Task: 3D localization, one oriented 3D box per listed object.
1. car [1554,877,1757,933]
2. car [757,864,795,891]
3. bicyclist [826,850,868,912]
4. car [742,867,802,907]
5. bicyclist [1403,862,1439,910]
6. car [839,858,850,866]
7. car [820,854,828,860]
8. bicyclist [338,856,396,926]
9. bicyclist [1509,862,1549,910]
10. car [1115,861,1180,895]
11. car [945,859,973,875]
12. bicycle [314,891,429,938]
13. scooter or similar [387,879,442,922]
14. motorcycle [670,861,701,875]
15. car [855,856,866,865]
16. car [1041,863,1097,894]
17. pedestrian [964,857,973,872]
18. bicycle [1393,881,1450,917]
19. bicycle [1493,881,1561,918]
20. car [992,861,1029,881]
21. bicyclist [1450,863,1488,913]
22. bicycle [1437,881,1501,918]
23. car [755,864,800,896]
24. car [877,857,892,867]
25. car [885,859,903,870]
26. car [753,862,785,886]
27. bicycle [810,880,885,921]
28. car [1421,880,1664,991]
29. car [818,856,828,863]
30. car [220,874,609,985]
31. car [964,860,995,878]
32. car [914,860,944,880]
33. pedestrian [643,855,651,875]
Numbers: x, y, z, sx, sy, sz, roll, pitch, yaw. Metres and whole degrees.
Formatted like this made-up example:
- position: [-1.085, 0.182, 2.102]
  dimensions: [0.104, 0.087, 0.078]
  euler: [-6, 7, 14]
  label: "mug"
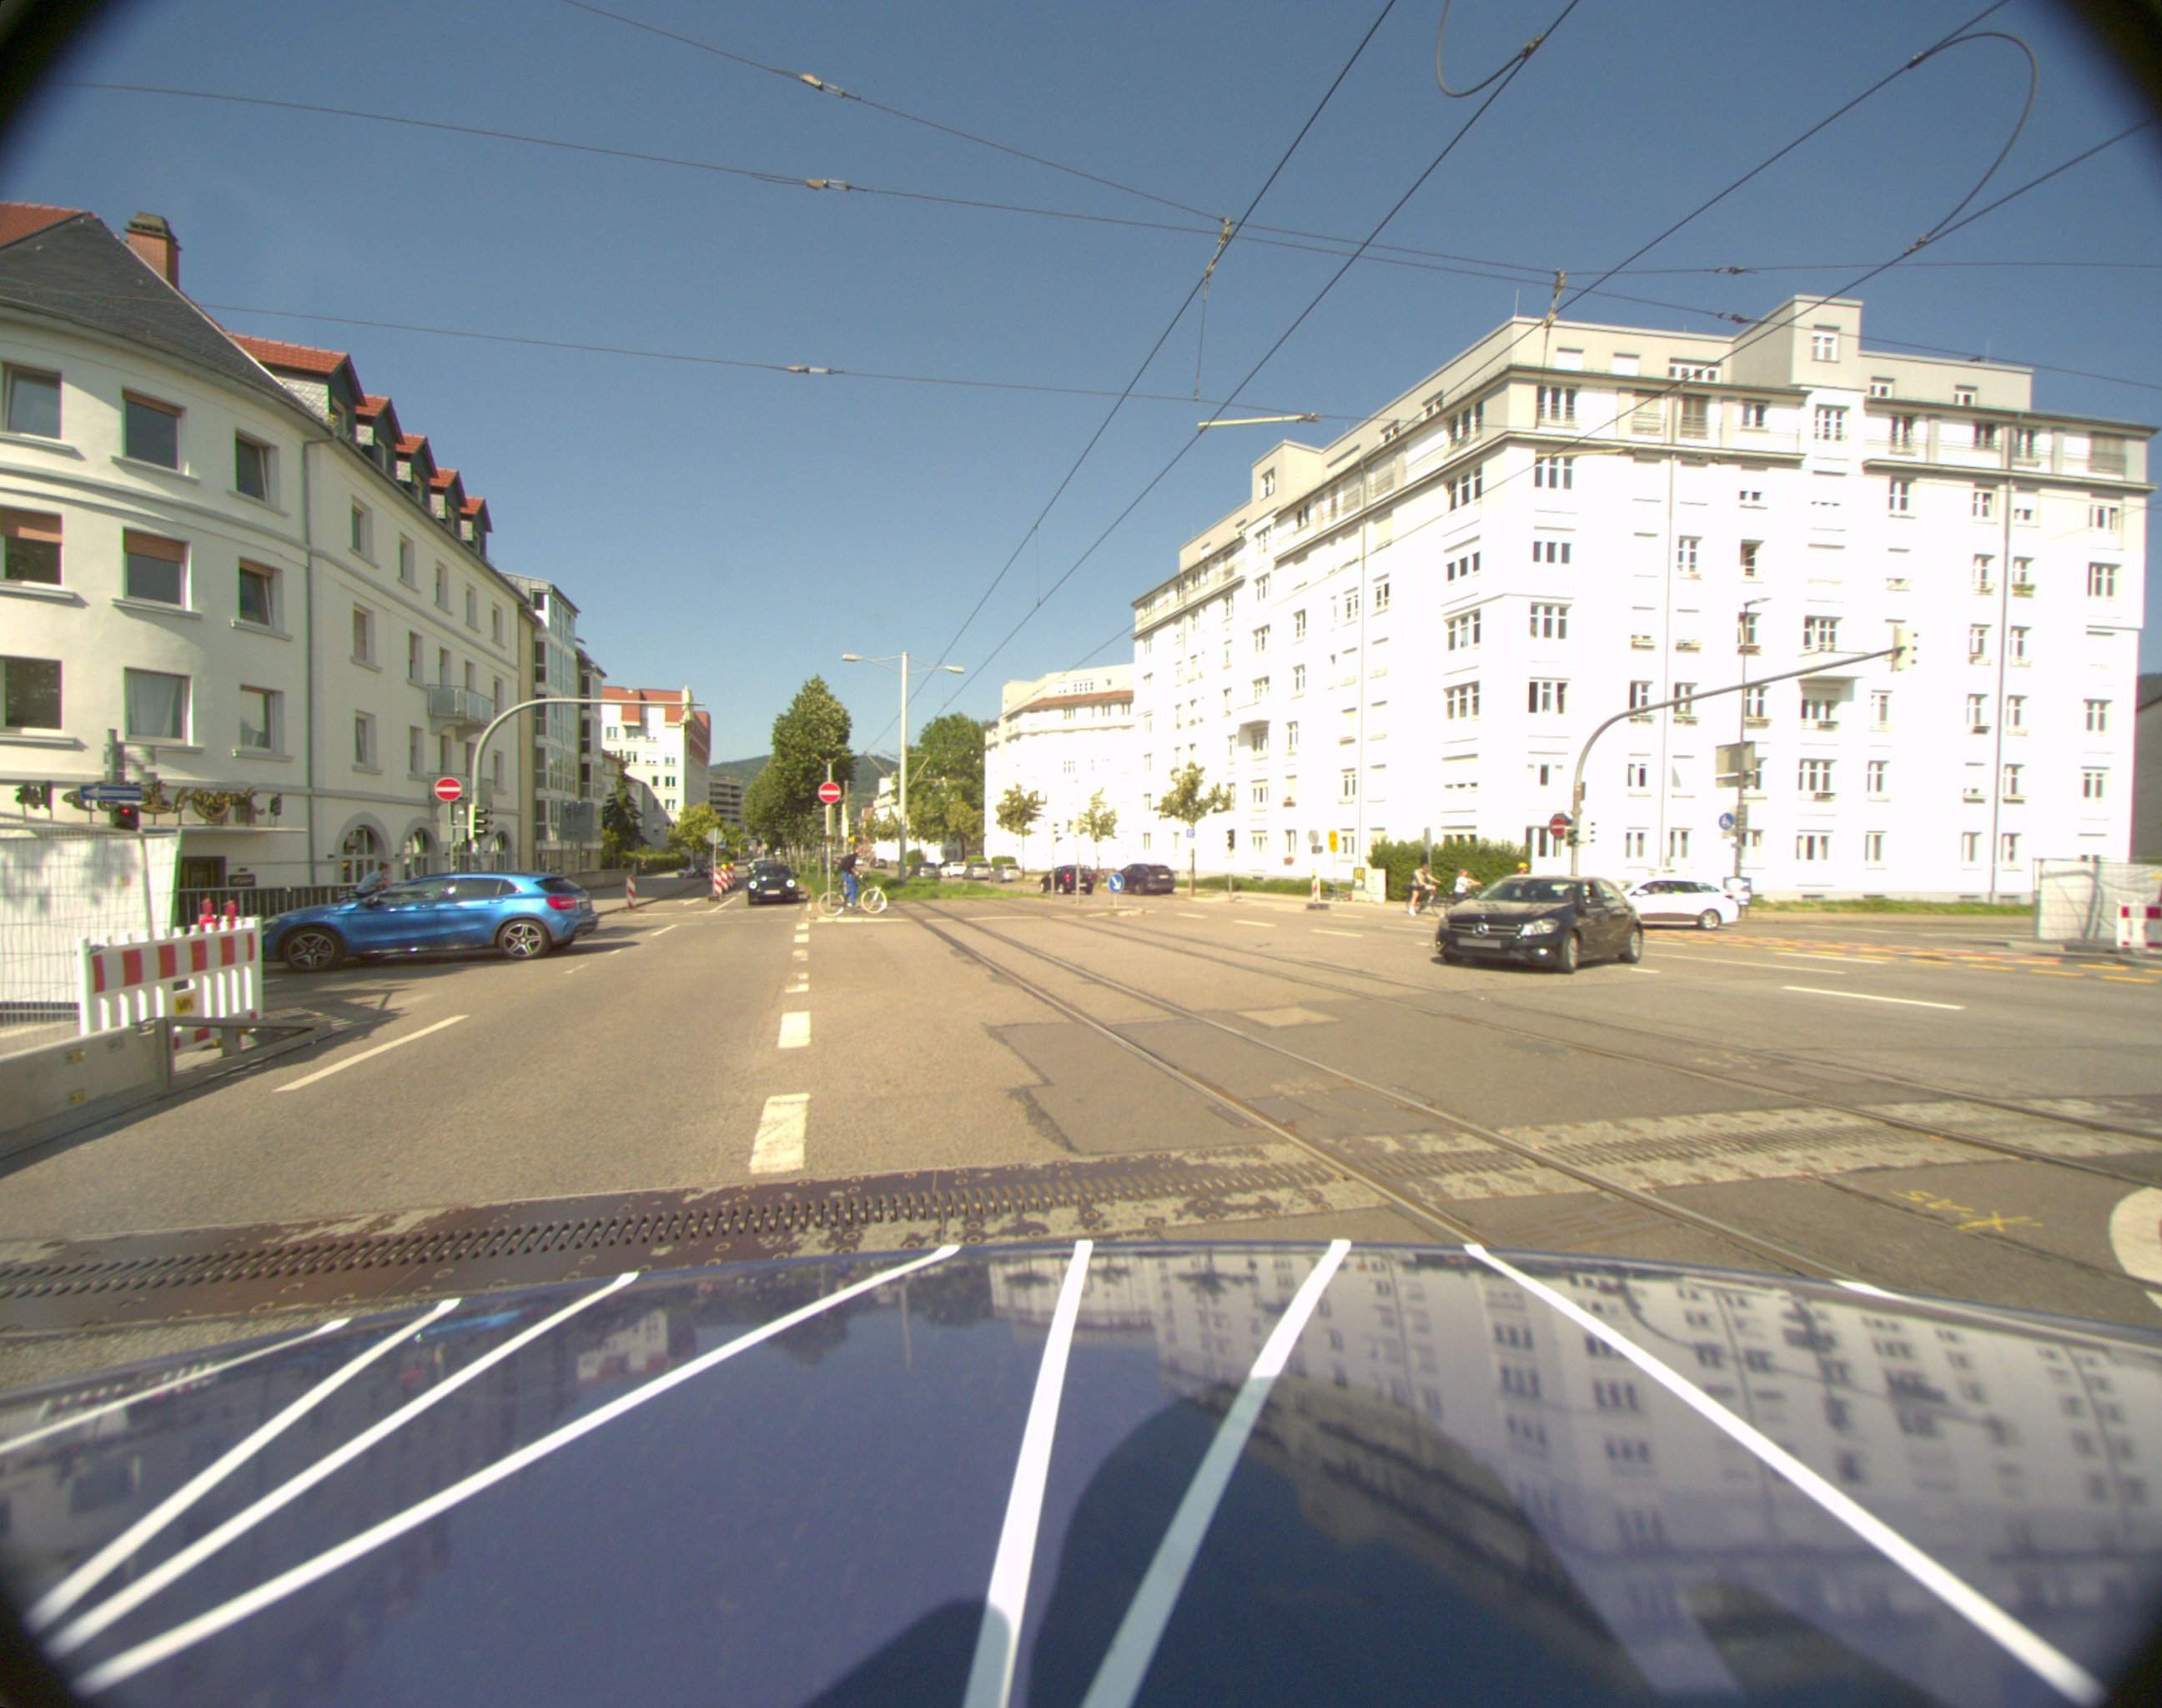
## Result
- position: [15.666, 1.387, 20.842]
  dimensions: [4.485, 1.403, 1.701]
  euler: [1, 0, -6]
  label: "car"
- position: [-16.445, 1.240, 41.159]
  dimensions: [1.770, 1.346, 3.993]
  euler: [-1, 0, -20]
  label: "car"
- position: [-6.470, 0.732, 21.068]
  dimensions: [1.010, 1.644, 0.808]
  euler: [-2, -1, -14]
  label: "bicyclist"
- position: [-11.672, 1.211, 28.916]
  dimensions: [1.769, 1.313, 3.994]
  euler: [-1, 0, -17]
  label: "car"
- position: [11.440, 1.057, 25.577]
  dimensions: [0.624, 1.580, 0.916]
  euler: [-1, 1, -23]
  label: "bicyclist"
- position: [-45.892, 1.487, 147.129]
  dimensions: [1.801, 1.476, 3.733]
  euler: [-1, 0, -21]
  label: "car"
- position: [-65.807, 0.723, 194.215]
  dimensions: [1.801, 1.672, 3.733]
  euler: [-1, 0, -21]
  label: "car"
- position: [-16.444, 0.827, 17.518]
  dimensions: [0.786, 1.541, 0.708]
  euler: [0, 3, -28]
  label: "bicyclist"
- position: [14.280, 1.003, 24.236]
  dimensions: [0.599, 1.469, 0.915]
  euler: [-1, 1, -34]
  label: "bicyclist"
- position: [3.344, 1.179, 38.997]
  dimensions: [1.742, 1.628, 3.733]
  euler: [-1, 0, -23]
  label: "car"
- position: [-11.660, 1.220, 72.337]
  dimensions: [1.742, 1.476, 3.733]
  euler: [-1, 0, -23]
  label: "car"
- position: [-16.367, 1.380, 17.590]
  dimensions: [1.822, 0.985, 0.708]
  euler: [0, 0, -28]
  label: "bicycle"
- position: [-18.071, 1.246, 20.624]
  dimensions: [0.339, 1.111, 1.305]
  euler: [0, 0, 0]
  label: "scooter or similar"
- position: [-33.379, 1.184, 64.148]
  dimensions: [2.180, 1.159, 0.743]
  euler: [0, 0, -17]
  label: "motorcycle"
- position: [-40.387, 1.164, 139.071]
  dimensions: [1.742, 1.476, 3.733]
  euler: [-1, 0, -21]
  label: "car"
- position: [-0.678, 1.260, 39.557]
  dimensions: [1.596, 1.484, 3.654]
  euler: [1, 0, -24]
  label: "car"
- position: [-12.872, 1.163, 86.700]
  dimensions: [0.859, 1.656, 0.908]
  euler: [0, 0, -18]
  label: "pedestrian"
- position: [11.440, 1.501, 25.590]
  dimensions: [0.619, 1.093, 1.782]
  euler: [0, 1, -23]
  label: "bicycle"
- position: [14.235, 1.436, 24.289]
  dimensions: [0.605, 1.093, 1.810]
  euler: [0, 0, -34]
  label: "bicycle"
- position: [-5.465, 1.282, 58.362]
  dimensions: [1.742, 1.476, 3.733]
  euler: [-1, 0, -23]
  label: "car"
- position: [12.731, 1.102, 24.940]
  dimensions: [0.625, 1.570, 0.915]
  euler: [-2, 1, -36]
  label: "bicyclist"
- position: [12.723, 1.483, 24.957]
  dimensions: [0.629, 1.093, 1.781]
  euler: [-2, 1, -37]
  label: "bicycle"
- position: [-14.121, 1.161, 35.544]
  dimensions: [1.769, 1.346, 3.993]
  euler: [-1, 0, -19]
  label: "car"
- position: [-29.378, 1.195, 113.506]
  dimensions: [1.742, 1.476, 3.733]
  euler: [-1, 0, -23]
  label: "car"
- position: [-26.124, 1.447, 106.110]
  dimensions: [1.742, 1.476, 3.733]
  euler: [-1, 0, -23]
  label: "car"
- position: [-19.275, 1.218, 46.970]
  dimensions: [1.770, 1.346, 3.992]
  euler: [-1, 0, -22]
  label: "car"
- position: [-6.450, 1.264, 21.056]
  dimensions: [1.913, 1.014, 0.821]
  euler: [-2, -1, -15]
  label: "bicycle"
- position: [7.340, 1.134, 11.882]
  dimensions: [4.633, 1.399, 1.699]
  euler: [2, -2, -38]
  label: "car"
- position: [-53.085, 1.131, 156.455]
  dimensions: [1.801, 1.476, 3.733]
  euler: [-1, 0, -21]
  label: "car"
- position: [-10.754, 1.152, 12.709]
  dimensions: [4.554, 1.472, 1.674]
  euler: [-1, 0, -19]
  label: "car"
- position: [-8.788, 1.249, 65.797]
  dimensions: [1.742, 1.476, 3.733]
  euler: [-1, 0, -23]
  label: "car"
- position: [-11.857, 1.228, 59.154]
  dimensions: [1.699, 1.547, 3.649]
  euler: [0, 0, -22]
  label: "car"
- position: [-38.386, 0.999, 67.192]
  dimensions: [0.600, 1.753, 0.750]
  euler: [0, 1, -25]
  label: "pedestrian"
